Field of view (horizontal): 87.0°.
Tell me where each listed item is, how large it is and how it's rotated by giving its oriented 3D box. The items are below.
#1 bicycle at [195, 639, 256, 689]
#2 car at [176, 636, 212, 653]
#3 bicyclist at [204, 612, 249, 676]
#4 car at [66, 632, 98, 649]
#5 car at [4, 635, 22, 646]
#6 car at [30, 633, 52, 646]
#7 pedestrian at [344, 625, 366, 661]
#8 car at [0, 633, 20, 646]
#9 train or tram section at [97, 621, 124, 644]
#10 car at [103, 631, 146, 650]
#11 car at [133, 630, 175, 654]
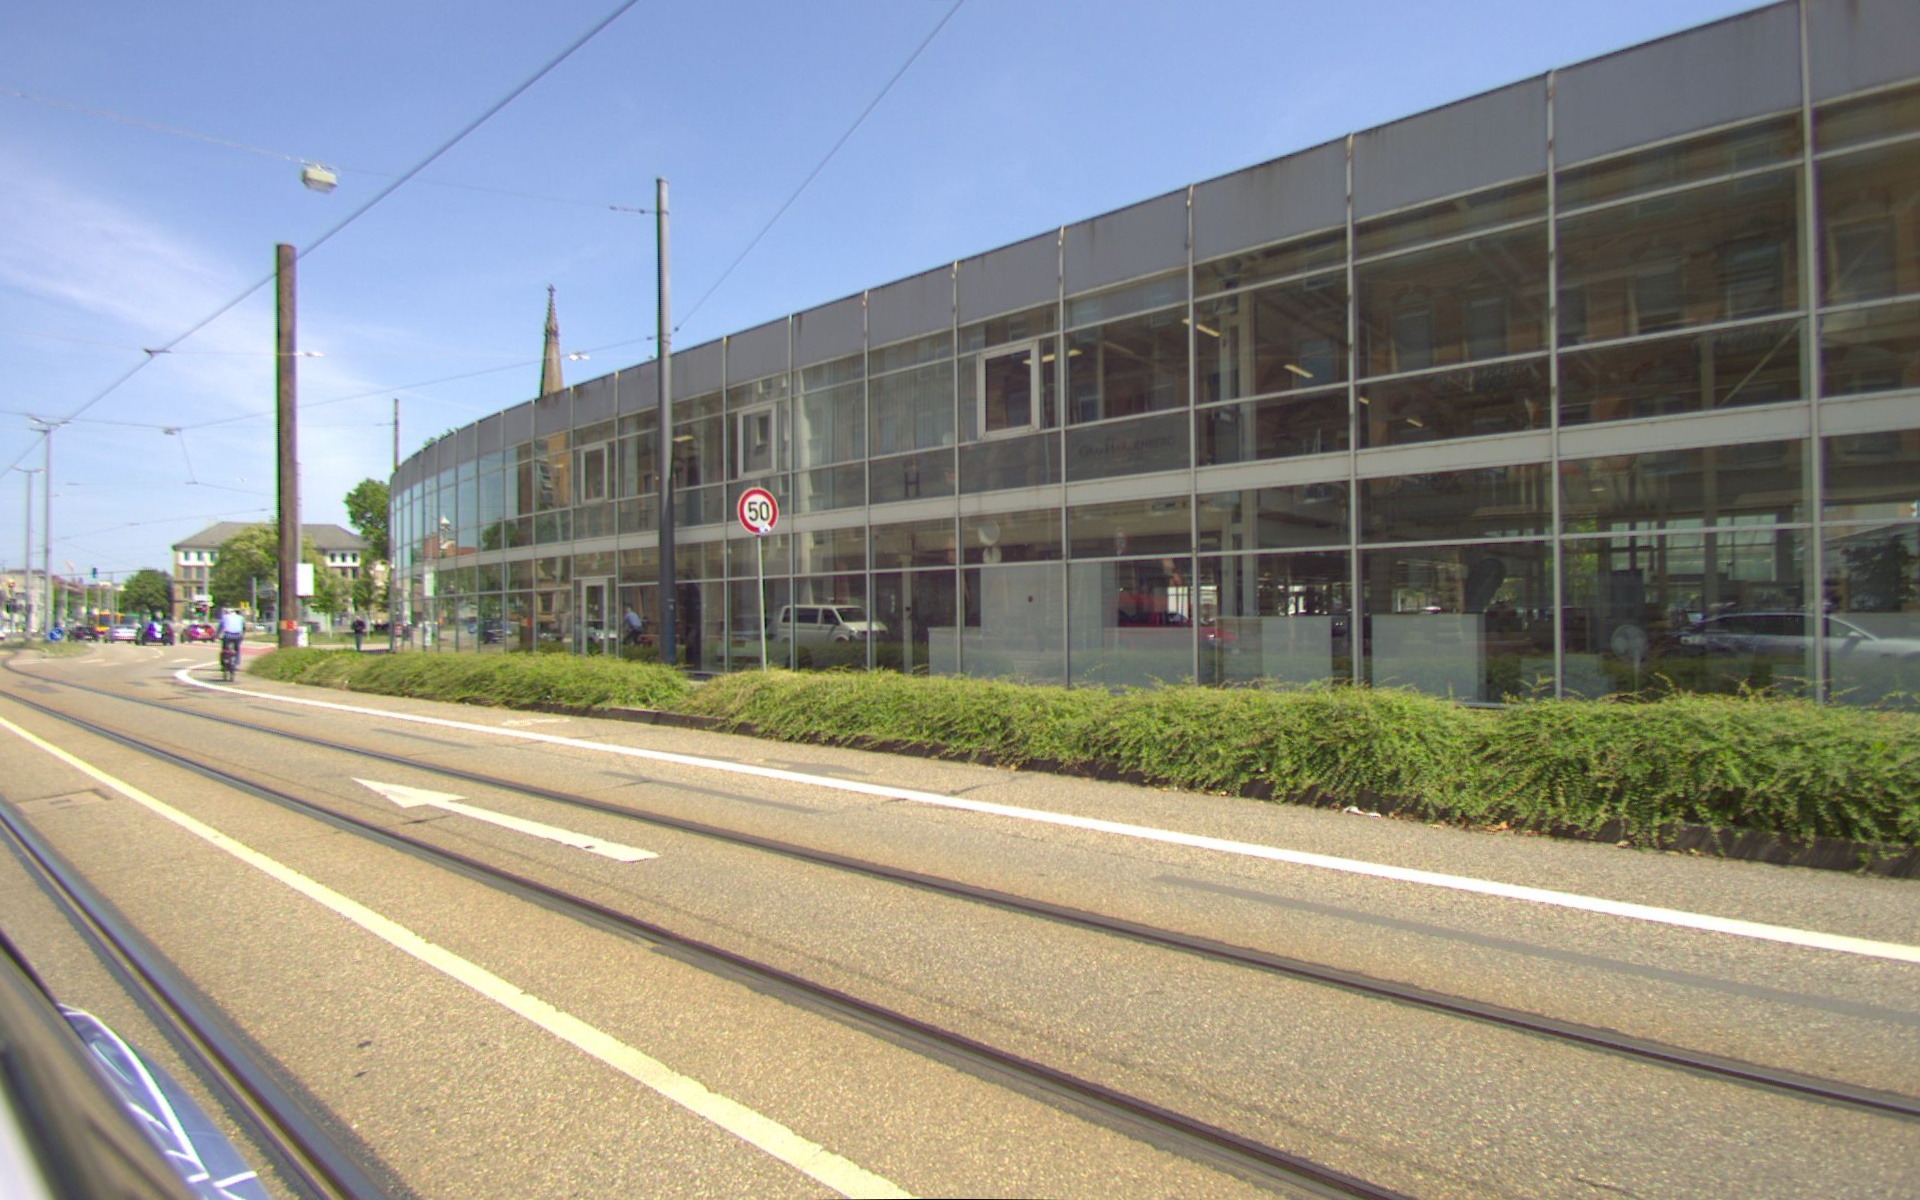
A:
[{"bbox_3d":[-18.225,1.564,25.095,2.494,1.153,0.690,-2,-2,41],"label":"bicycle"},{"bbox_3d":[-64.958,3.719,85.796,4.289,1.377,1.738,-2,-2,43],"label":"car"},{"bbox_3d":[-18.227,1.086,25.148,0.979,1.560,0.691,-2,-2,41],"label":"bicyclist"},{"bbox_3d":[-78.740,3.629,90.767,3.902,1.473,1.653,-2,-3,42],"label":"car"},{"bbox_3d":[-129.963,5.560,138.872,3.677,1.548,1.532,-2,-2,41],"label":"car"},{"bbox_3d":[-109.020,4.664,120.007,3.677,1.548,1.532,-2,-2,41],"label":"car"},{"bbox_3d":[-28.760,2.045,48.118,0.719,1.654,0.821,1,-2,-45],"label":"pedestrian"},{"bbox_3d":[-101.600,4.181,107.844,4.201,1.309,1.688,-1,-3,41],"label":"car"},{"bbox_3d":[-122.800,4.659,146.386,2.798,3.238,9.126,0,-2,-38],"label":"train or tram section"},{"bbox_3d":[-69.122,3.326,83.724,5.130,1.542,1.972,-2,-3,42],"label":"car"},{"bbox_3d":[-57.805,3.012,72.556,4.527,1.639,1.801,-2,-3,45],"label":"car"}]
